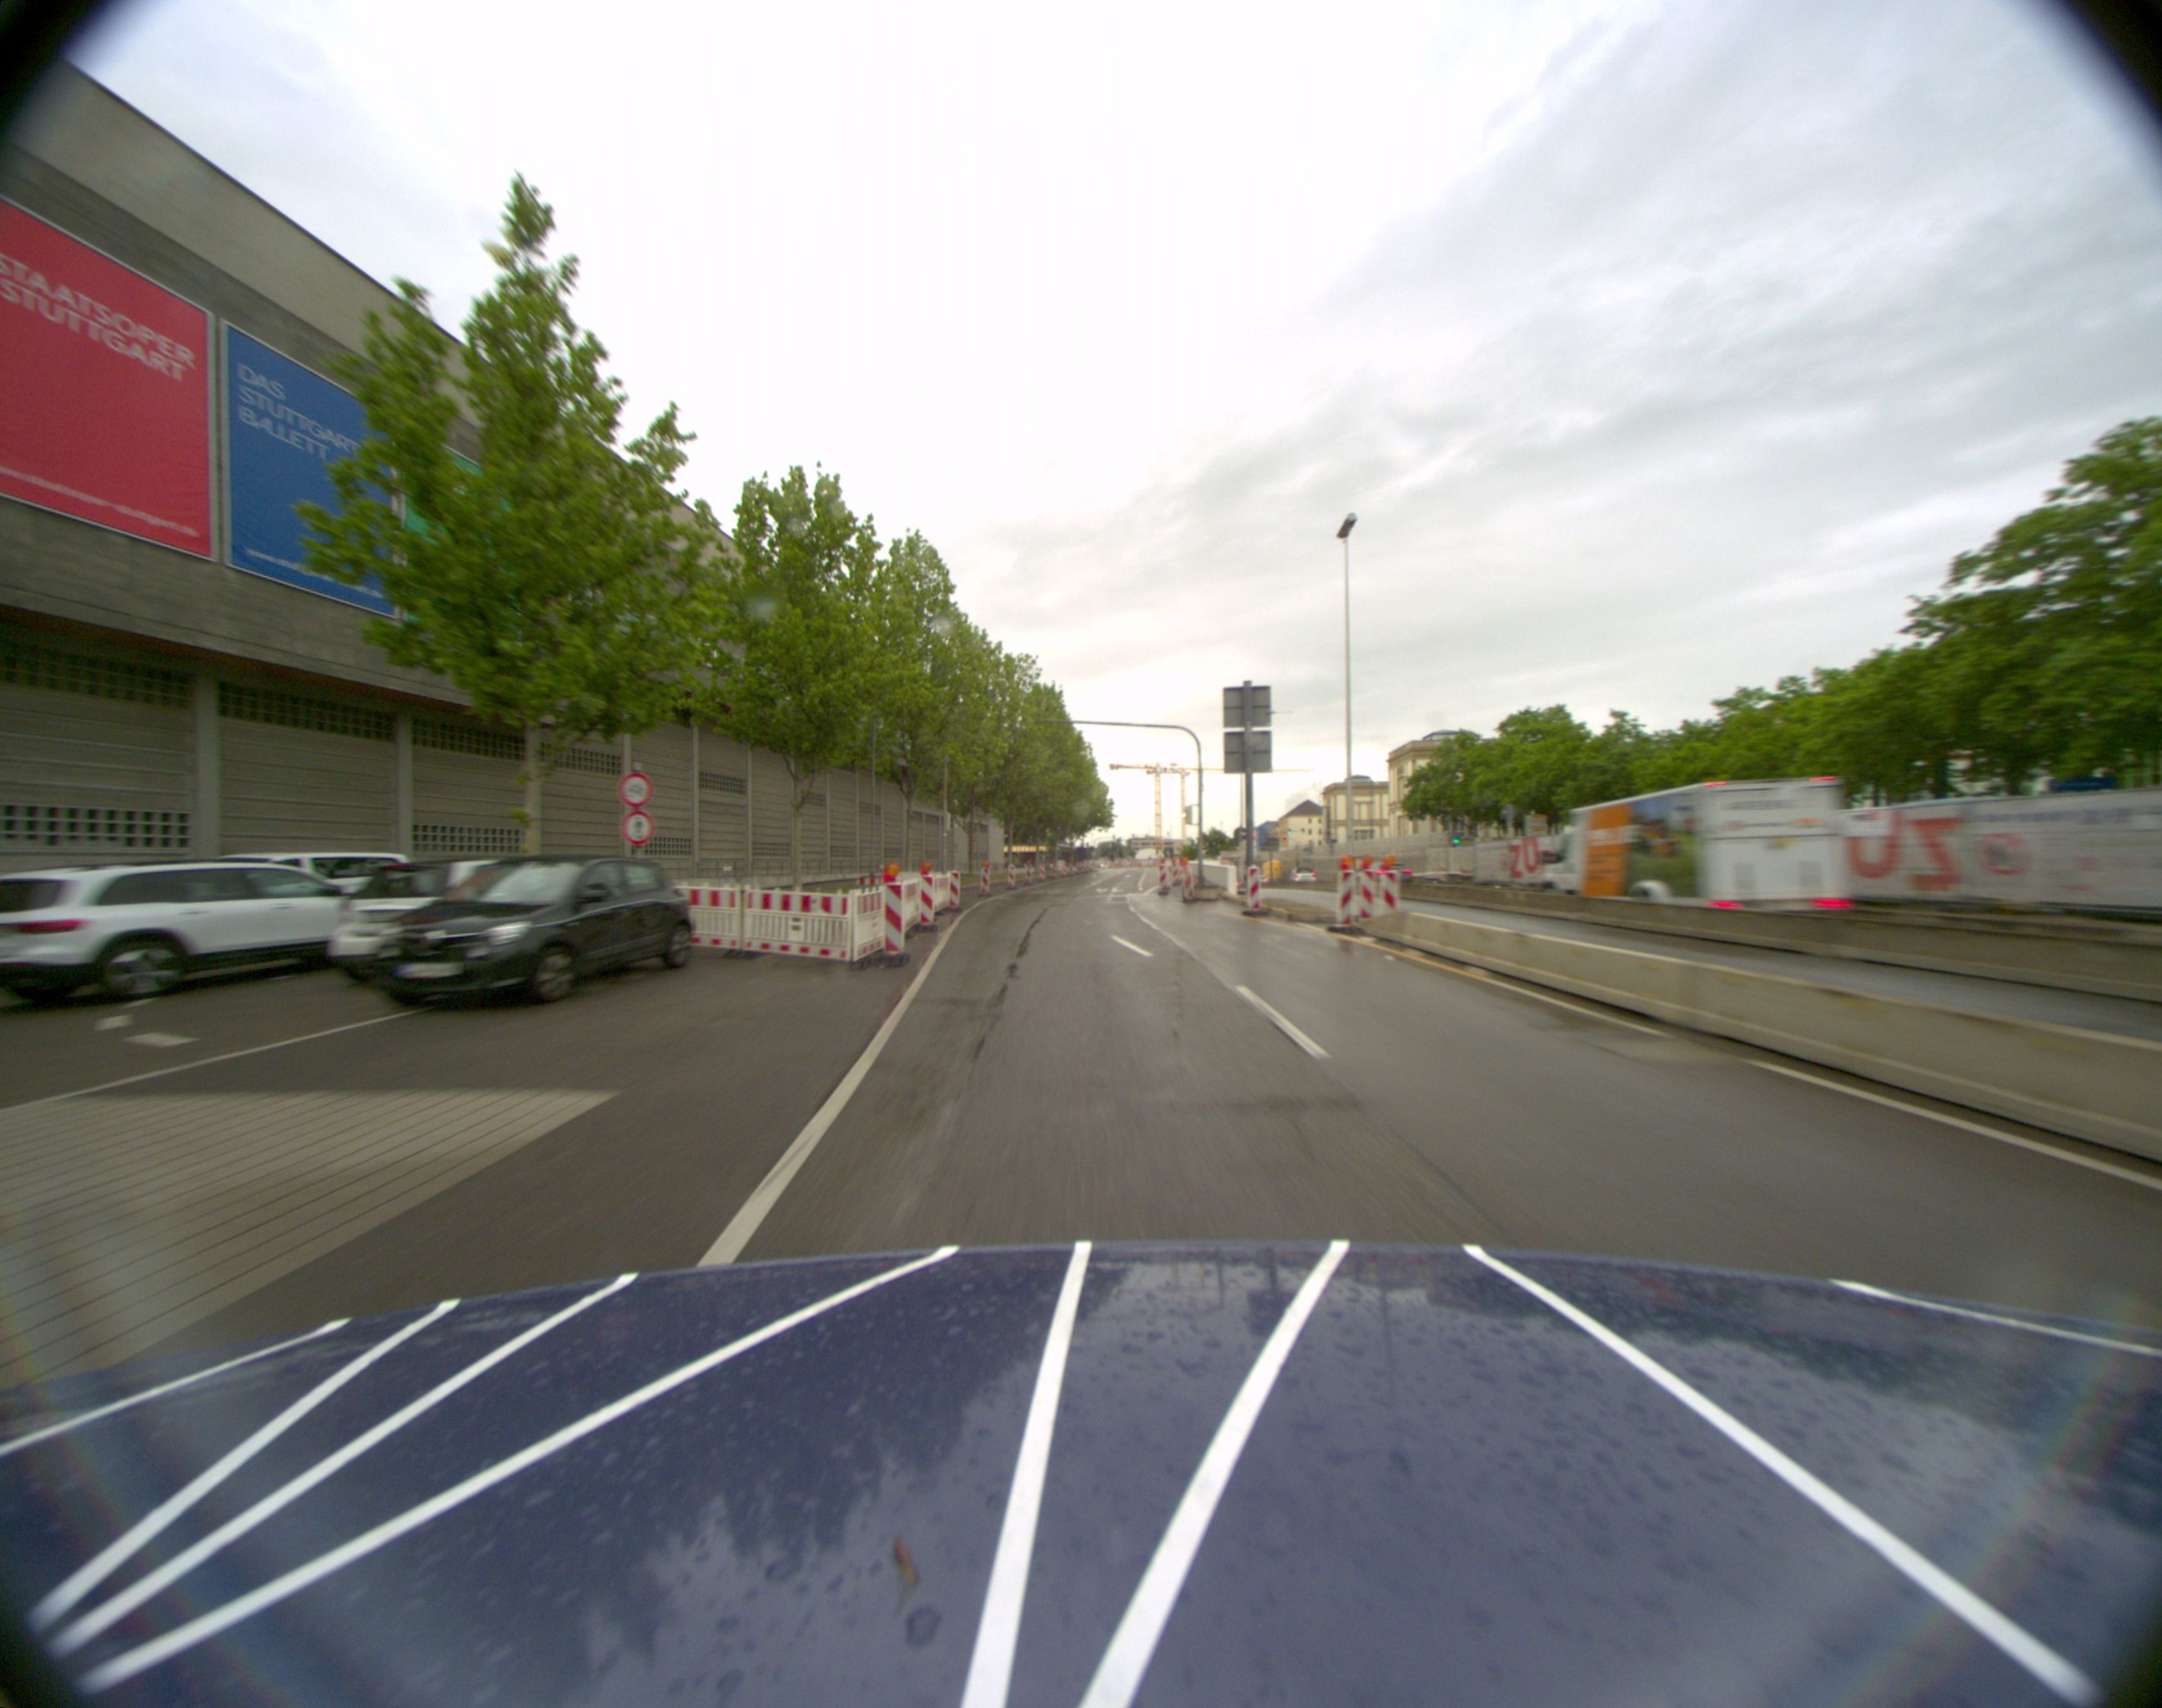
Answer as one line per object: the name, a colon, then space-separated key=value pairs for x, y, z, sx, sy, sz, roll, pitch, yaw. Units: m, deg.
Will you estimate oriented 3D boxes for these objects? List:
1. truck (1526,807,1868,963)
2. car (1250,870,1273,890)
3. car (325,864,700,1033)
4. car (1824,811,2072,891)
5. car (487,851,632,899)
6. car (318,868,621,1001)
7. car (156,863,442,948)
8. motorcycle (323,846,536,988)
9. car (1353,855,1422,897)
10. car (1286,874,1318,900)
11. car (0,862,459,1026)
truck: x=12.894 y=0.610 z=16.955 sx=2.402 sy=2.702 sz=7.360 roll=-1 pitch=-1 yaw=8
car: x=19.363 y=2.732 z=81.599 sx=1.902 sy=2.002 sz=4.002 roll=0 pitch=0 yaw=5
car: x=-6.256 y=0.918 z=8.974 sx=1.691 sy=1.486 sz=3.620 roll=-1 pitch=0 yaw=-1
car: x=24.116 y=-0.007 z=21.494 sx=1.997 sy=2.001 sz=4.721 roll=-1 pitch=-2 yaw=8
car: x=-17.817 y=0.699 z=26.058 sx=3.845 sy=1.570 sz=1.780 roll=0 pitch=0 yaw=6
car: x=-8.347 y=1.002 z=10.711 sx=1.584 sy=1.528 sz=3.023 roll=0 pitch=0 yaw=9
car: x=-18.831 y=1.136 z=18.727 sx=1.777 sy=1.777 sz=4.886 roll=0 pitch=0 yaw=4
motorcycle: x=-9.760 y=0.862 z=11.589 sx=0.750 sy=1.893 sz=2.591 roll=-2 pitch=0 yaw=6
car: x=15.770 y=1.076 z=39.373 sx=1.912 sy=2.002 sz=4.760 roll=0 pitch=0 yaw=4
car: x=17.251 y=2.561 z=59.376 sx=1.704 sy=1.857 sz=3.359 roll=0 pitch=0 yaw=4
car: x=-12.022 y=1.084 z=10.867 sx=1.958 sy=1.674 sz=4.495 roll=-4 pitch=0 yaw=12
